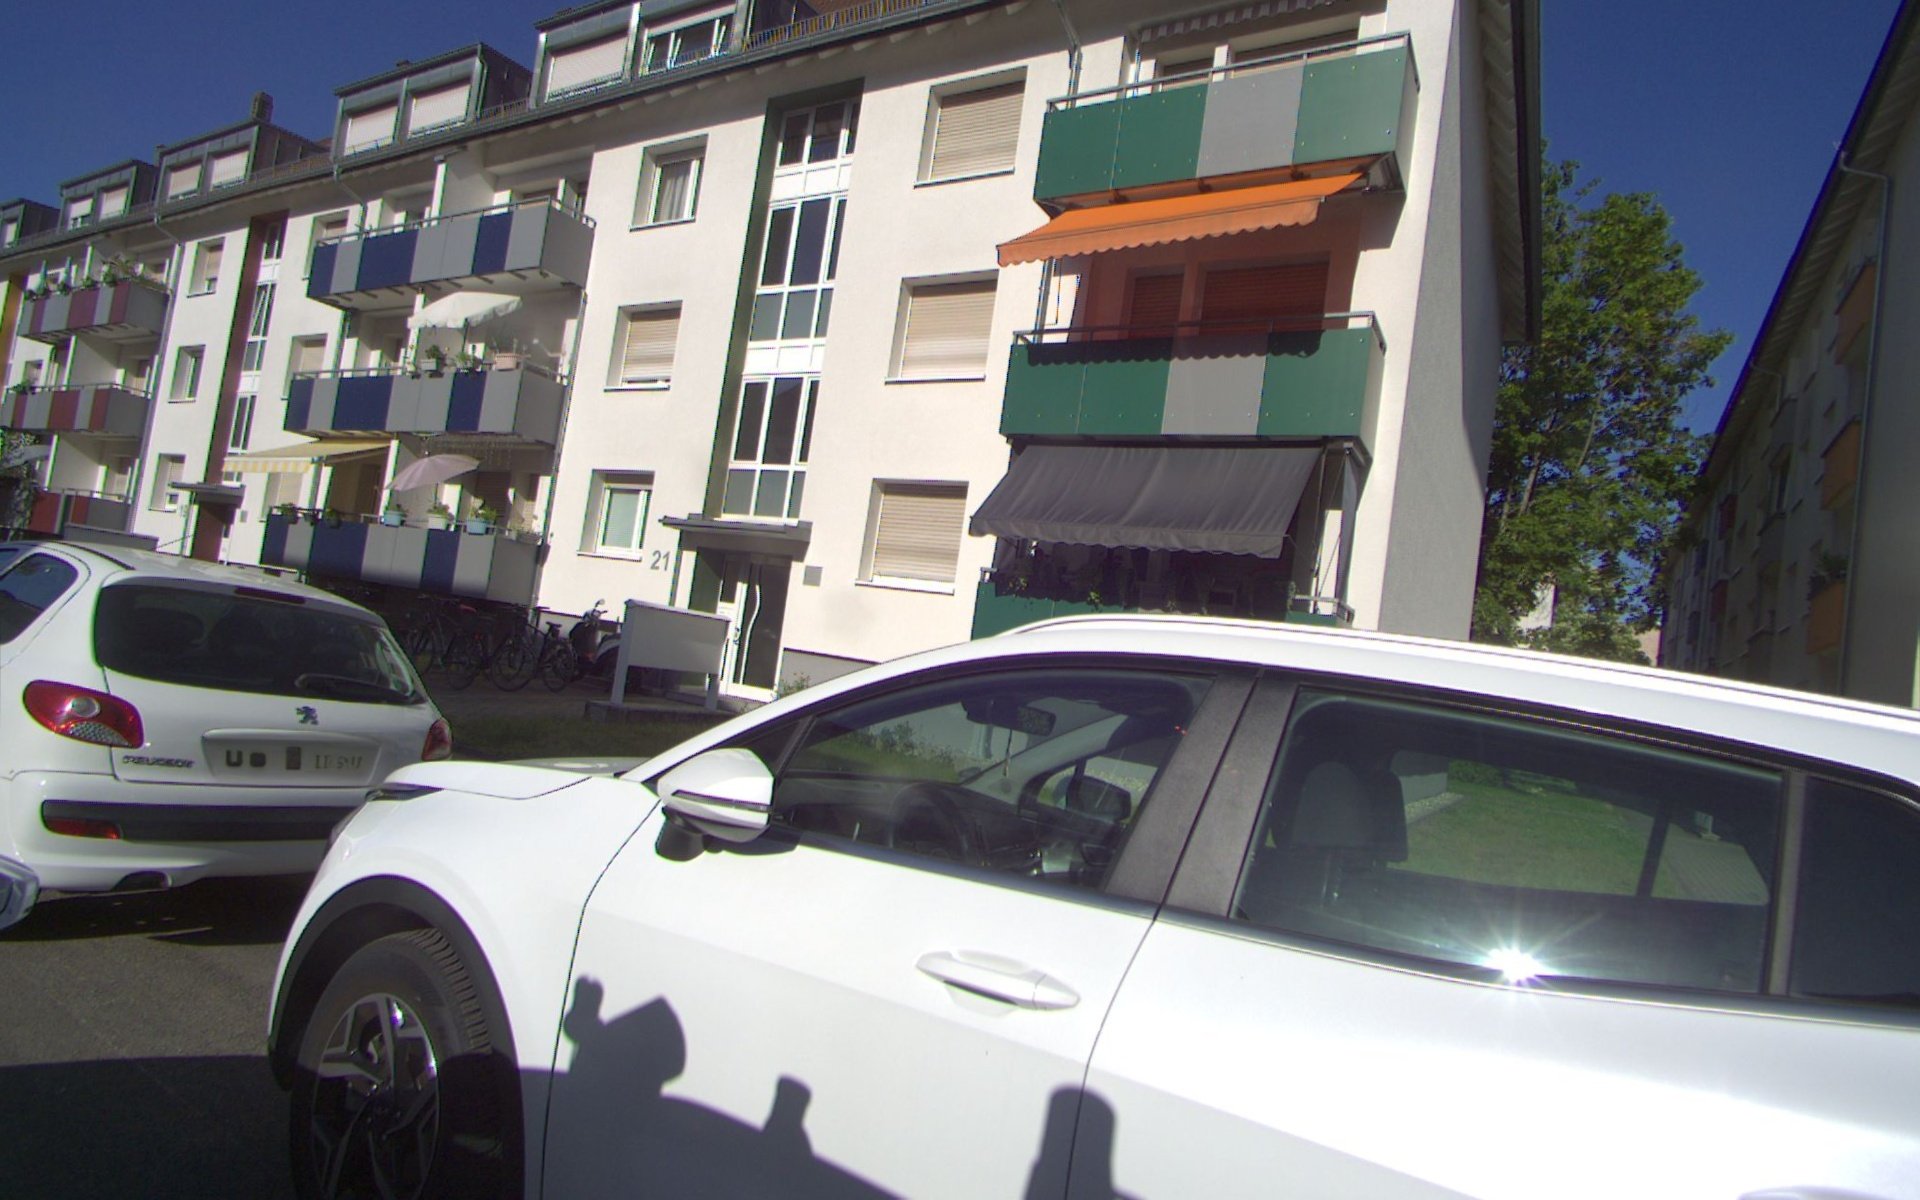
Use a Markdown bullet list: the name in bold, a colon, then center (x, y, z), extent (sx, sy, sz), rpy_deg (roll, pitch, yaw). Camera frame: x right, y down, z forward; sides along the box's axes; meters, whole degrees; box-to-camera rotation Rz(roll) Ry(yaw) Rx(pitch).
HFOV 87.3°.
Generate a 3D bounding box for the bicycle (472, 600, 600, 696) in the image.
- **bicycle**: center (-6.080, 0.675, 14.394), extent (1.841, 1.129, 0.597), rpy_deg (7, -1, 31)

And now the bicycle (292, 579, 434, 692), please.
- **bicycle**: center (-7.356, 0.428, 12.375), extent (1.841, 1.145, 0.578), rpy_deg (7, -1, 31)

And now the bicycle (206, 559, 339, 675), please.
- **bicycle**: center (-8.327, 0.191, 12.154), extent (1.842, 1.184, 0.545), rpy_deg (6, -1, 33)

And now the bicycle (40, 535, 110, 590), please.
- **bicycle**: center (-20.624, -0.875, 23.428), extent (2.250, 1.061, 0.521), rpy_deg (6, -1, 32)

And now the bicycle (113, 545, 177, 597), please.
- **bicycle**: center (-19.847, -0.708, 24.486), extent (1.942, 1.048, 0.521), rpy_deg (6, -2, 32)

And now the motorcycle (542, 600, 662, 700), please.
- **motorcycle**: center (-5.415, 0.735, 15.157), extent (1.944, 1.252, 0.442), rpy_deg (7, -2, 32)

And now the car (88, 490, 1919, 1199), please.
- **car**: center (0.173, 0.848, 2.331), extent (4.505, 1.608, 1.807), rpy_deg (6, -5, 31)

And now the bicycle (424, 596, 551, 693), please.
- **bicycle**: center (-6.499, 0.594, 13.802), extent (1.841, 1.095, 0.539), rpy_deg (7, 0, 31)

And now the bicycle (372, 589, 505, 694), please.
- **bicycle**: center (-6.843, 0.533, 13.174), extent (1.841, 1.133, 0.545), rpy_deg (7, -1, 31)

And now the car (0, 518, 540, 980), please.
- **car**: center (-4.206, 0.442, 4.968), extent (4.029, 1.432, 1.698), rpy_deg (6, -6, 31)
